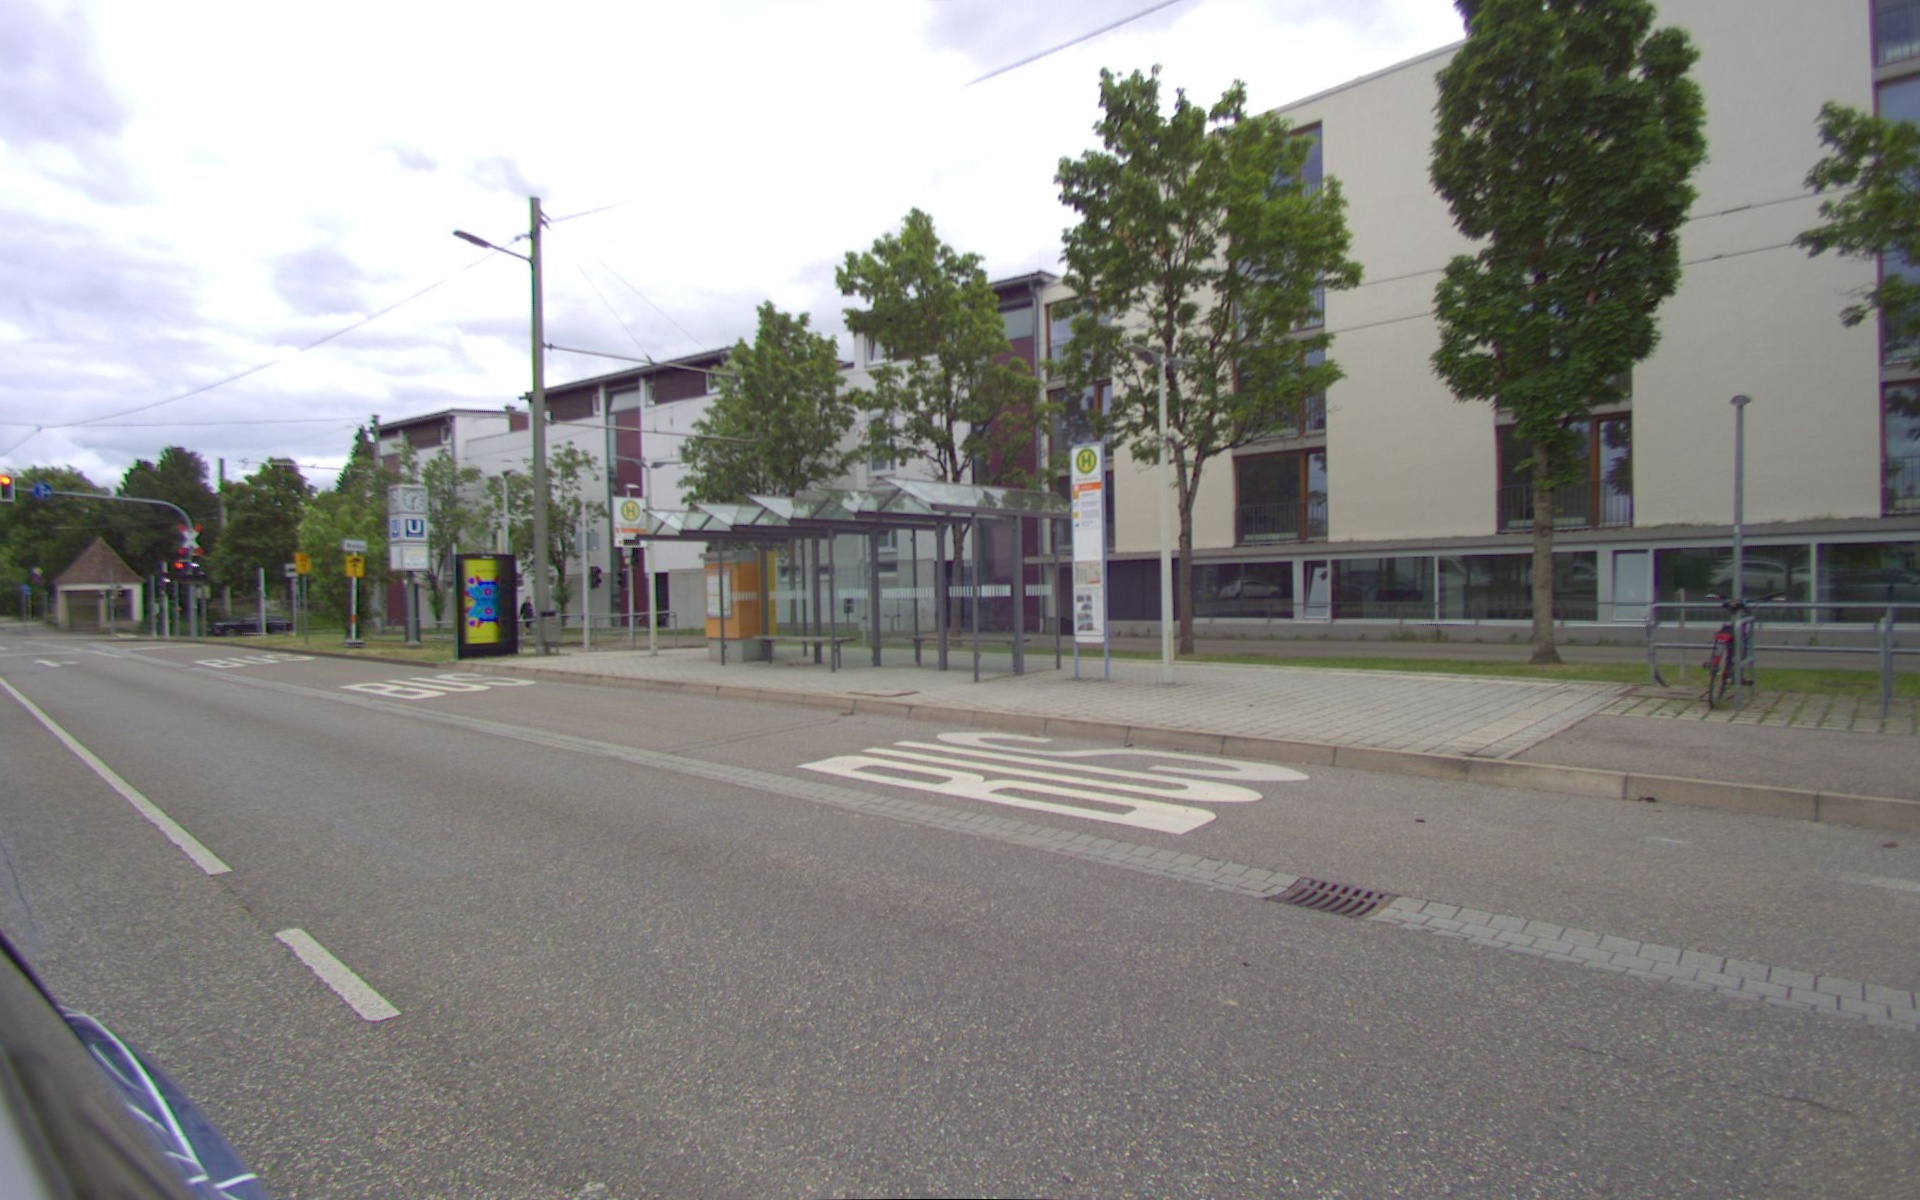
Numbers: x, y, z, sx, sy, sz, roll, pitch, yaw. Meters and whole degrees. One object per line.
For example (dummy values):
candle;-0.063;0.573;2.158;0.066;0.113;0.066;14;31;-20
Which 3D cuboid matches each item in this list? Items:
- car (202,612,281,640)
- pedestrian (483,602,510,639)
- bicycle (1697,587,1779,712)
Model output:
car;-48.025;1.698;67.667;1.927;1.718;3.947;-1;1;40
pedestrian;-20.103;0.883;43.883;0.779;1.607;0.773;-1;0;34
bicycle;7.382;0.426;9.581;0.396;1.032;1.668;-1;2;45
